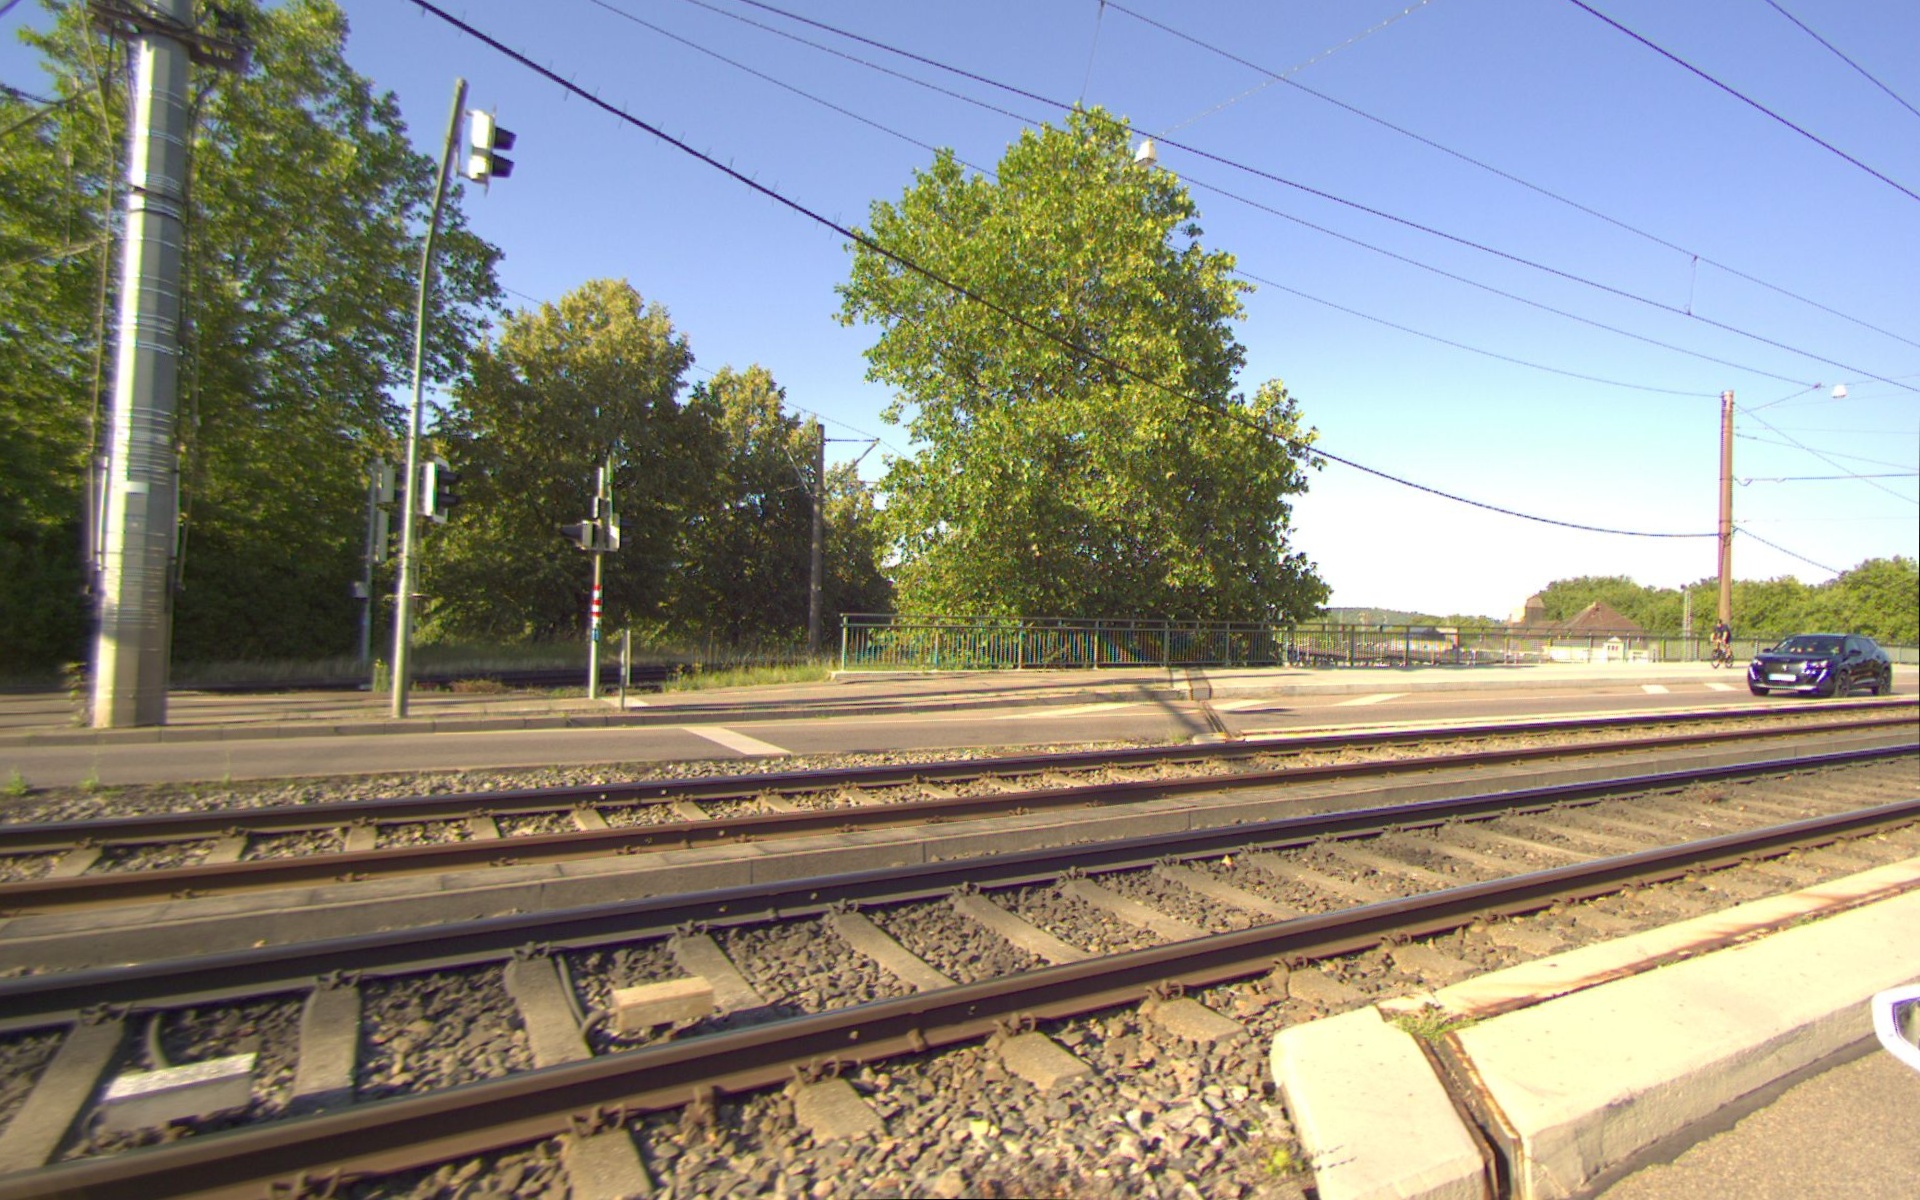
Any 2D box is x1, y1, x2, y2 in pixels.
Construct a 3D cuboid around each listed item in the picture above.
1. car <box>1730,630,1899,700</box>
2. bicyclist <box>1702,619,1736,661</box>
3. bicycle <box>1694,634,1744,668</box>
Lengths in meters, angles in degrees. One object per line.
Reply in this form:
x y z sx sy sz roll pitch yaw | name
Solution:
20.822 1.575 24.450 4.170 1.522 1.840 3 -1 -30 | car
26.977 1.411 35.718 0.958 1.451 0.622 3 -1 -31 | bicyclist
27.018 1.823 35.753 2.234 1.137 0.622 3 -1 -31 | bicycle
